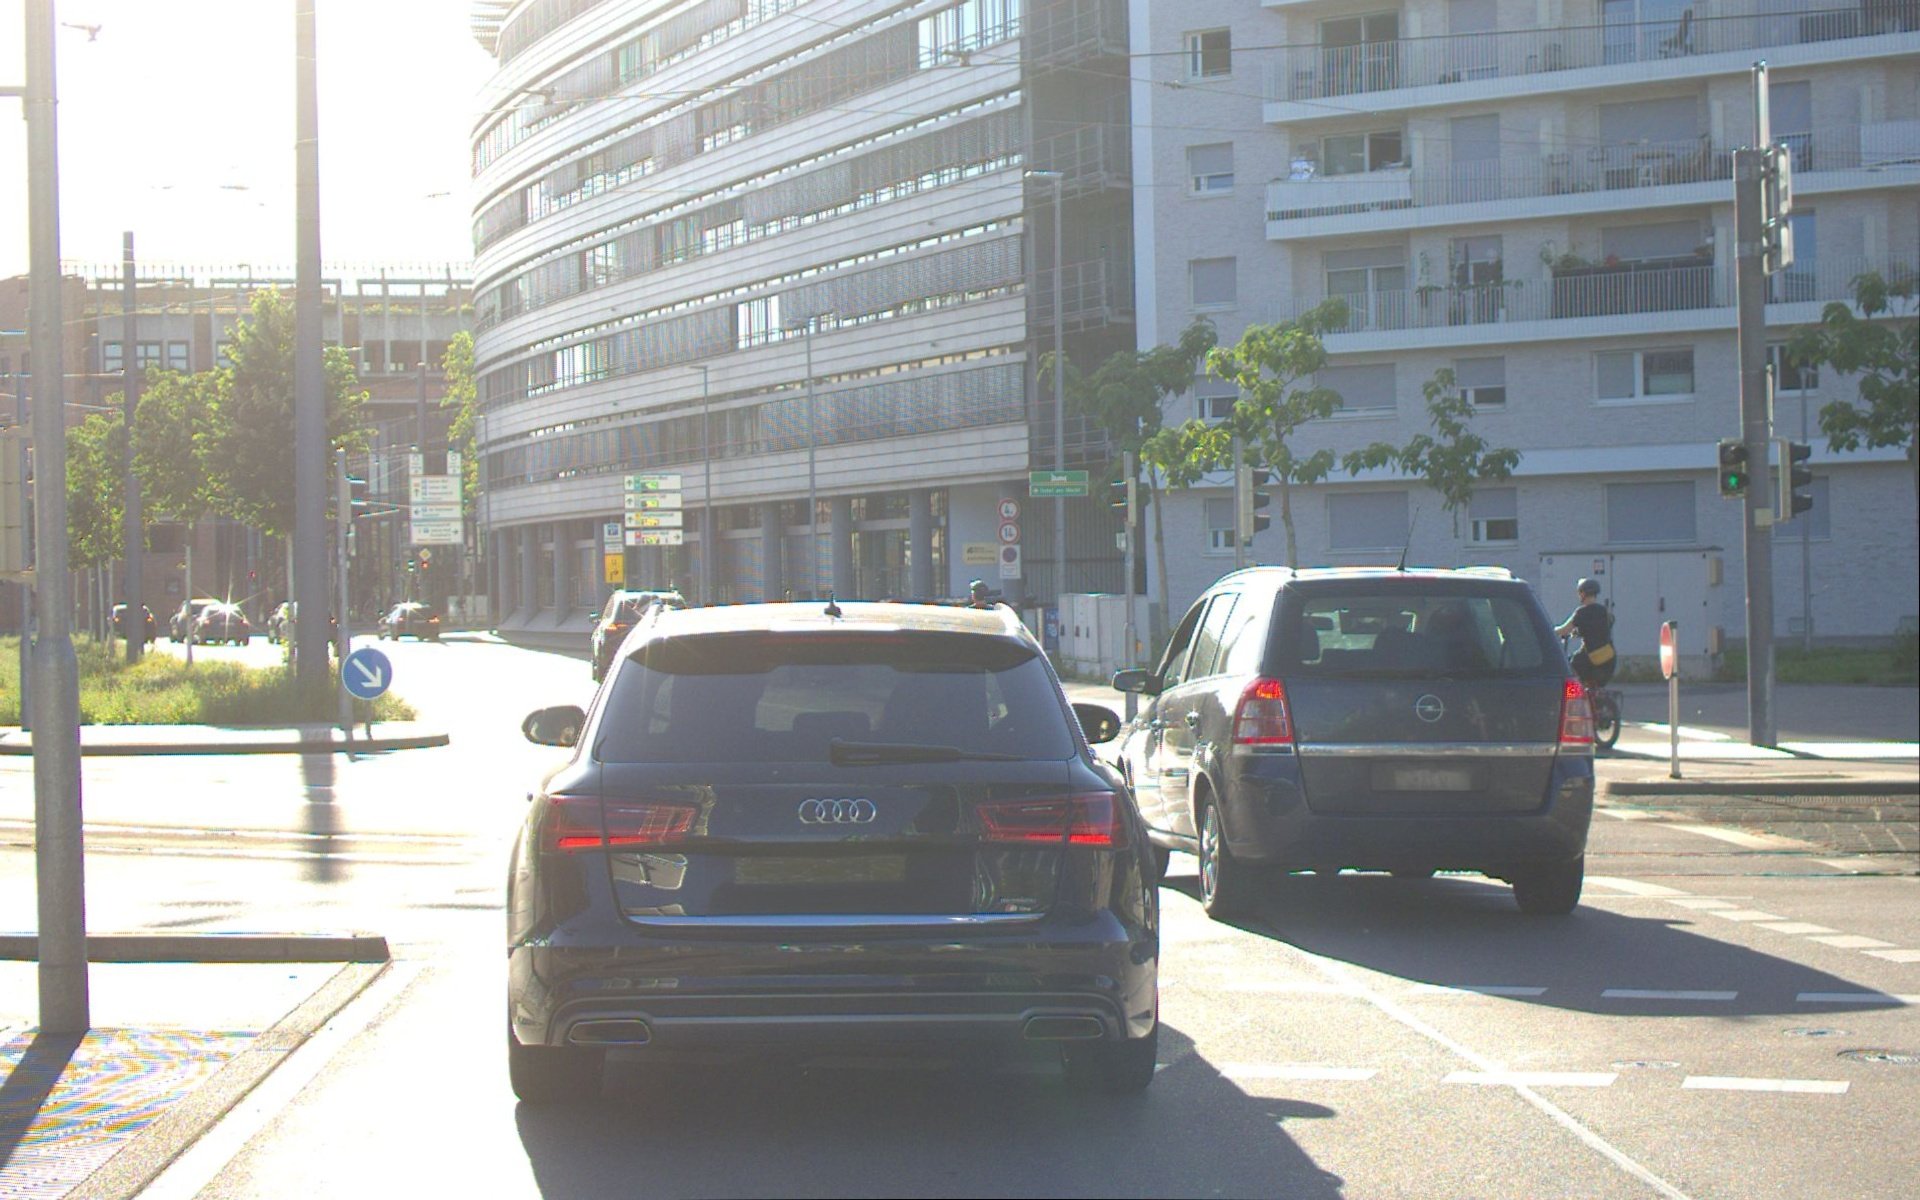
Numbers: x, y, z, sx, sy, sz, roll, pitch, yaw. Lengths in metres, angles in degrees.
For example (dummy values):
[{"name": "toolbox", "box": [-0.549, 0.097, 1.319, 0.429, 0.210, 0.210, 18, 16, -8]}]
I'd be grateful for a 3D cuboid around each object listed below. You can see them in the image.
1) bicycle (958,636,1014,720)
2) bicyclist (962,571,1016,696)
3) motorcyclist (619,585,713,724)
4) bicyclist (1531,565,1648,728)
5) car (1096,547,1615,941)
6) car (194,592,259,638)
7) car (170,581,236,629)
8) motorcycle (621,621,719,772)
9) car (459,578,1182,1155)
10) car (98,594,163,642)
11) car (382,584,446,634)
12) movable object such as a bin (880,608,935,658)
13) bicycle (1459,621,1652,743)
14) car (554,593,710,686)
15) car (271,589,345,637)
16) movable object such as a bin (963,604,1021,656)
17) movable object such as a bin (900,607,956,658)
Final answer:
[{"name": "bicycle", "box": [0.357, 1.024, 45.687, 0.654, 1.039, 1.929, -1, 1, 3]}, {"name": "bicyclist", "box": [0.387, 0.440, 45.682, 0.654, 1.637, 0.972, -1, 1, 3]}, {"name": "motorcyclist", "box": [-2.834, 0.521, 33.169, 0.862, 1.322, 0.681, -1, 0, -3]}, {"name": "bicyclist", "box": [6.692, 0.488, 36.563, 0.766, 1.700, 0.930, -1, 0, -36]}, {"name": "car", "box": [1.816, 0.628, 17.144, 1.745, 1.690, 4.261, 1, 0, -5]}, {"name": "car", "box": [-26.579, 0.559, 124.513, 1.993, 1.590, 4.001, -2, 0, -16]}, {"name": "car", "box": [-28.687, 0.199, 130.177, 1.993, 1.700, 4.001, -2, -1, -19]}, {"name": "motorcycle", "box": [-2.786, 0.908, 33.184, 0.862, 1.388, 1.894, -1, 0, -3]}, {"name": "car", "box": [-0.388, 0.675, 10.844, 1.842, 1.449, 4.000, 1, 1, -1]}, {"name": "car", "box": [-31.306, 0.681, 129.740, 1.993, 1.700, 4.001, -2, -1, -19]}, {"name": "car", "box": [-21.387, 0.360, 134.597, 1.993, 1.831, 4.001, -2, -1, -16]}, {"name": "movable object such as a bin", "box": [-1.443, 0.913, 93.973, 1.059, 1.327, 1.125, -1, -1, -28]}, {"name": "bicycle", "box": [6.386, 0.864, 36.966, 0.766, 1.258, 2.081, -1, 0, -36]}, {"name": "car", "box": [-6.481, 0.748, 67.489, 2.002, 1.709, 4.373, 1, 1, -20]}, {"name": "car", "box": [-23.179, 0.475, 122.166, 1.993, 1.590, 4.001, -2, -1, -19]}, {"name": "movable object such as a bin", "box": [0.829, 0.787, 89.787, 1.059, 1.327, 1.125, -1, -1, -28]}, {"name": "movable object such as a bin", "box": [-0.870, 0.884, 92.920, 1.059, 1.327, 1.125, -1, -1, -28]}]
